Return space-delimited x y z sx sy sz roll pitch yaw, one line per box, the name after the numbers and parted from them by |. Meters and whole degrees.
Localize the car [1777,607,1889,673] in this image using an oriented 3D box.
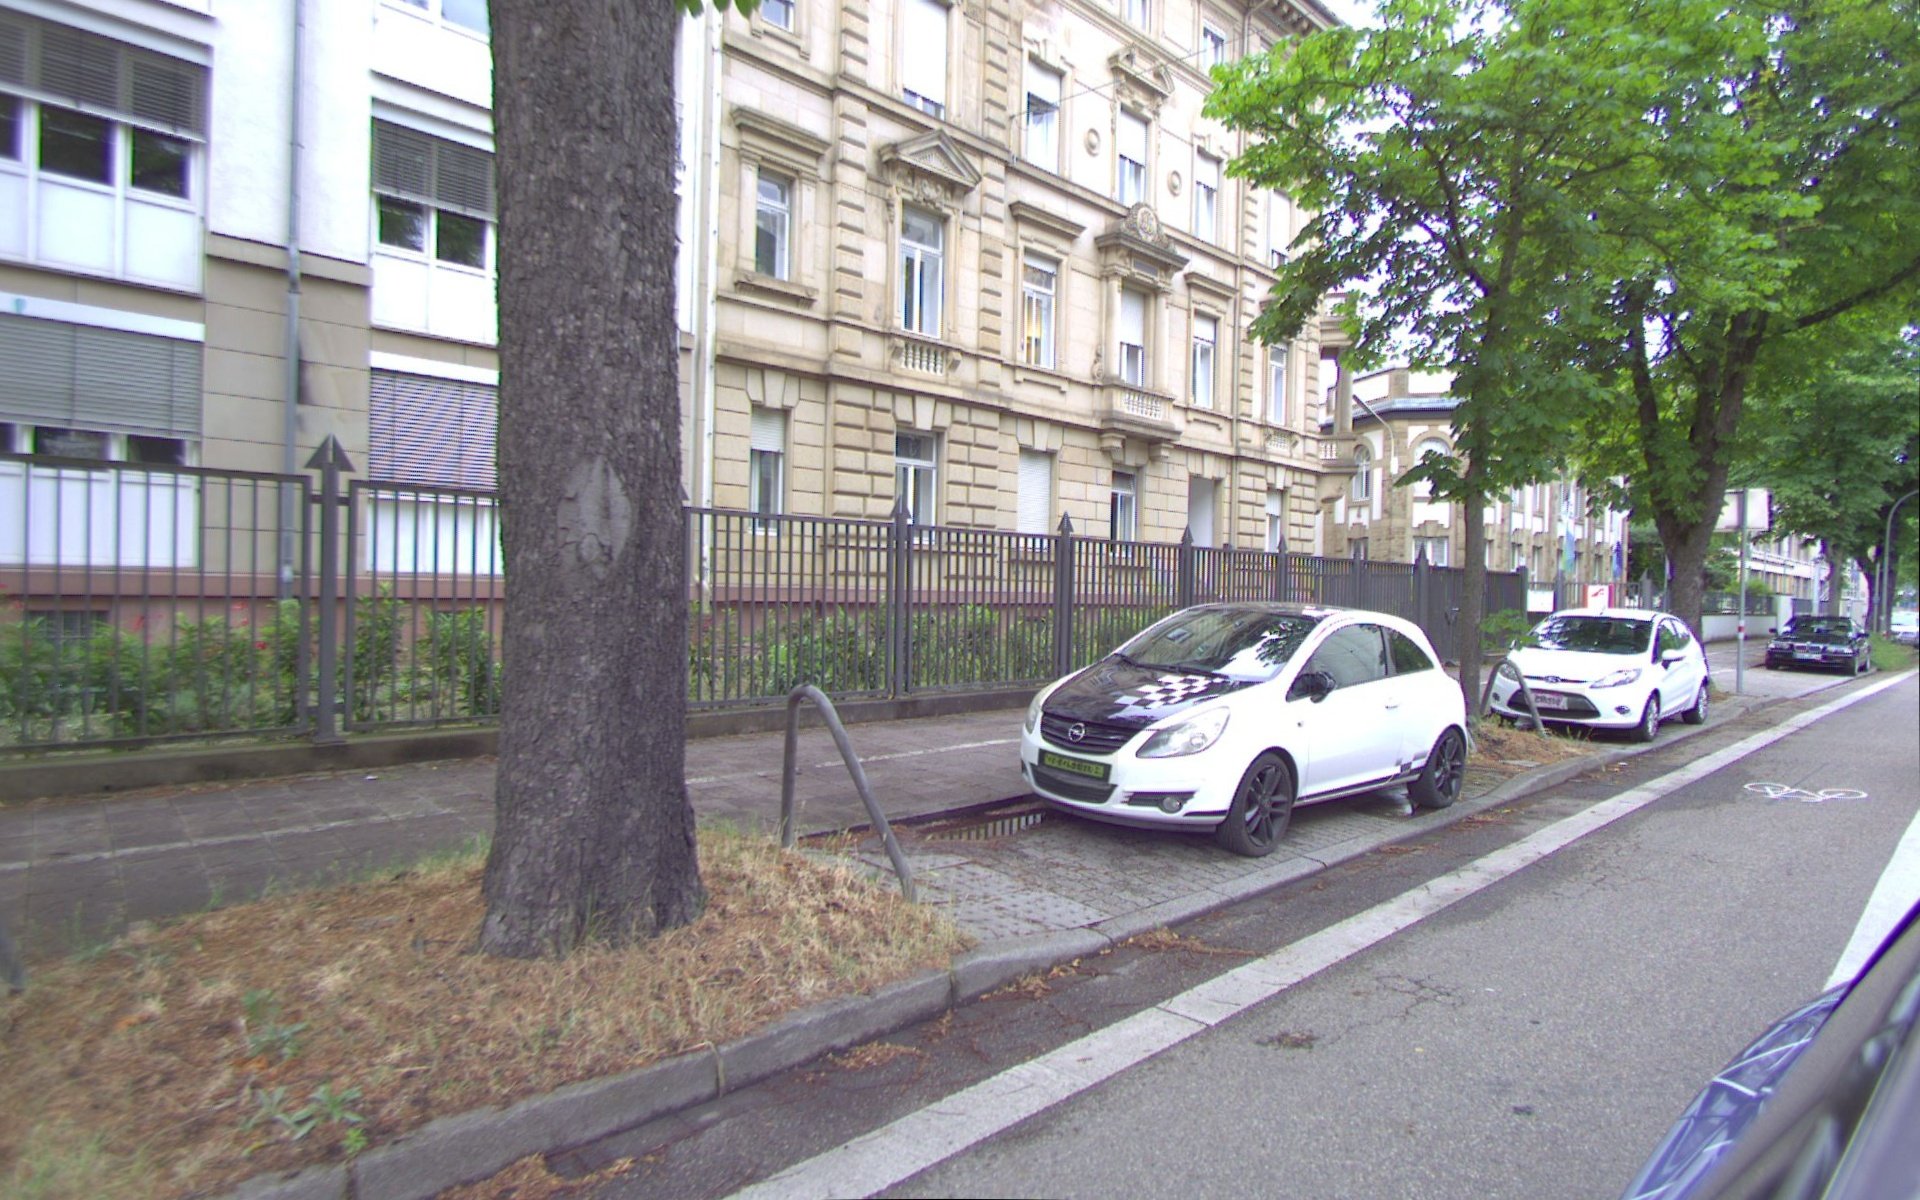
21.576 0.927 24.971 3.771 1.387 1.605 0 3 -42 | car

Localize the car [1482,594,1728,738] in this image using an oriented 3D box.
8.119 0.710 12.622 3.700 1.453 1.630 1 3 -42 | car

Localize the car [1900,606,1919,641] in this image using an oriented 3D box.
43.048 1.057 44.893 3.771 1.442 1.605 0 3 -42 | car

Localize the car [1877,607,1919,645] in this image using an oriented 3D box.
37.674 1.005 40.078 3.771 1.387 1.605 0 3 -42 | car

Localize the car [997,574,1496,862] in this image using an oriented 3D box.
2.176 0.619 7.159 3.711 1.453 1.605 1 3 -42 | car

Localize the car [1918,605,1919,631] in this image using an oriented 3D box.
51.853 0.996 53.378 3.771 1.387 1.605 0 3 -42 | car
